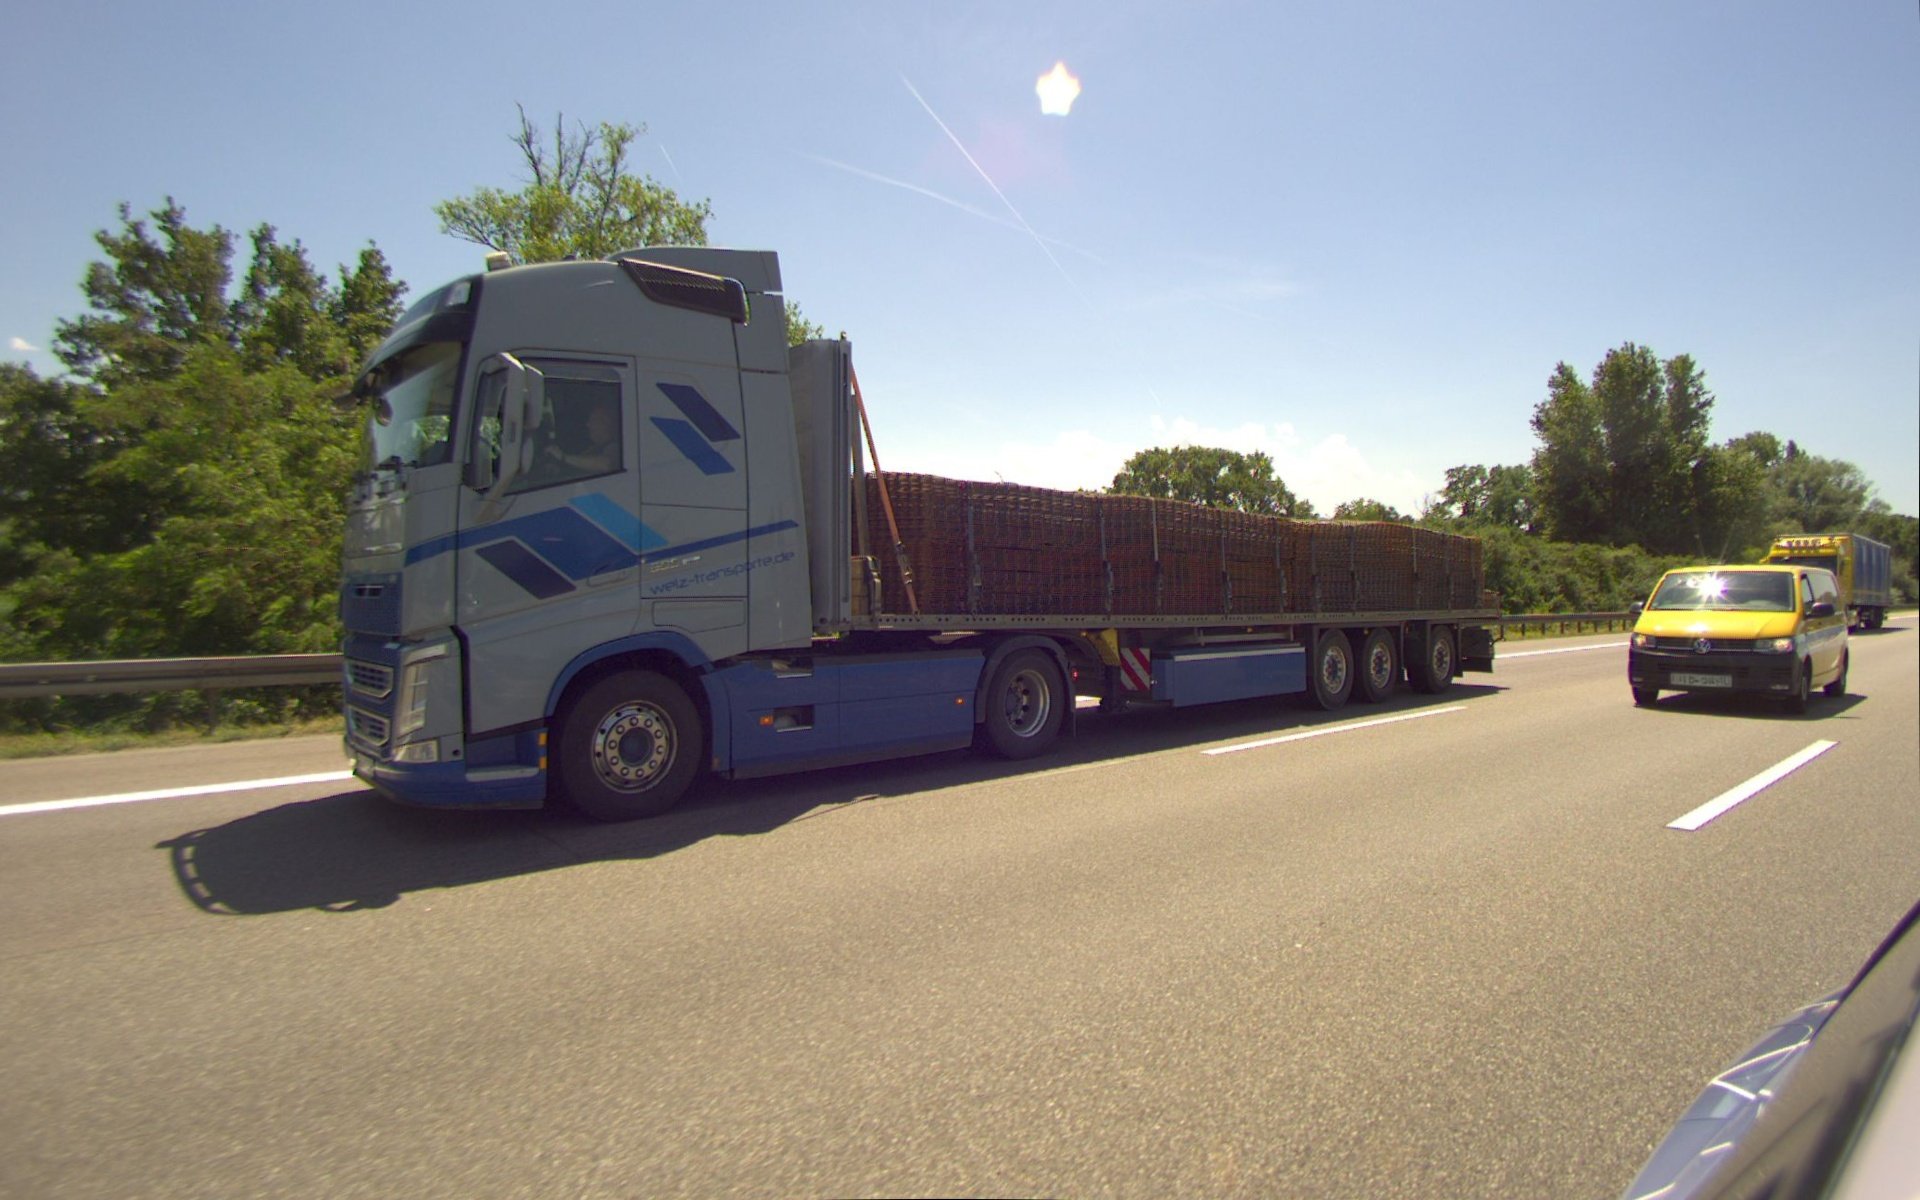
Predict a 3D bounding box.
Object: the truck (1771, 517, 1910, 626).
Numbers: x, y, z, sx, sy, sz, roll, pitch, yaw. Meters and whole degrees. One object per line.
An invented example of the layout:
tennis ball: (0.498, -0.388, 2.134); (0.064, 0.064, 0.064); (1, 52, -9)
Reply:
truck: (40.736, -1.295, 46.472); (16.505, 4.310, 2.849); (-1, 2, -42)

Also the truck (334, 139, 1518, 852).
truck: (2.145, -0.723, 12.291); (16.330, 4.007, 2.973); (-1, 1, -42)

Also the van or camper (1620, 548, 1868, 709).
van or camper: (11.373, 0.322, 14.539); (4.886, 1.933, 1.996); (0, 0, -42)
